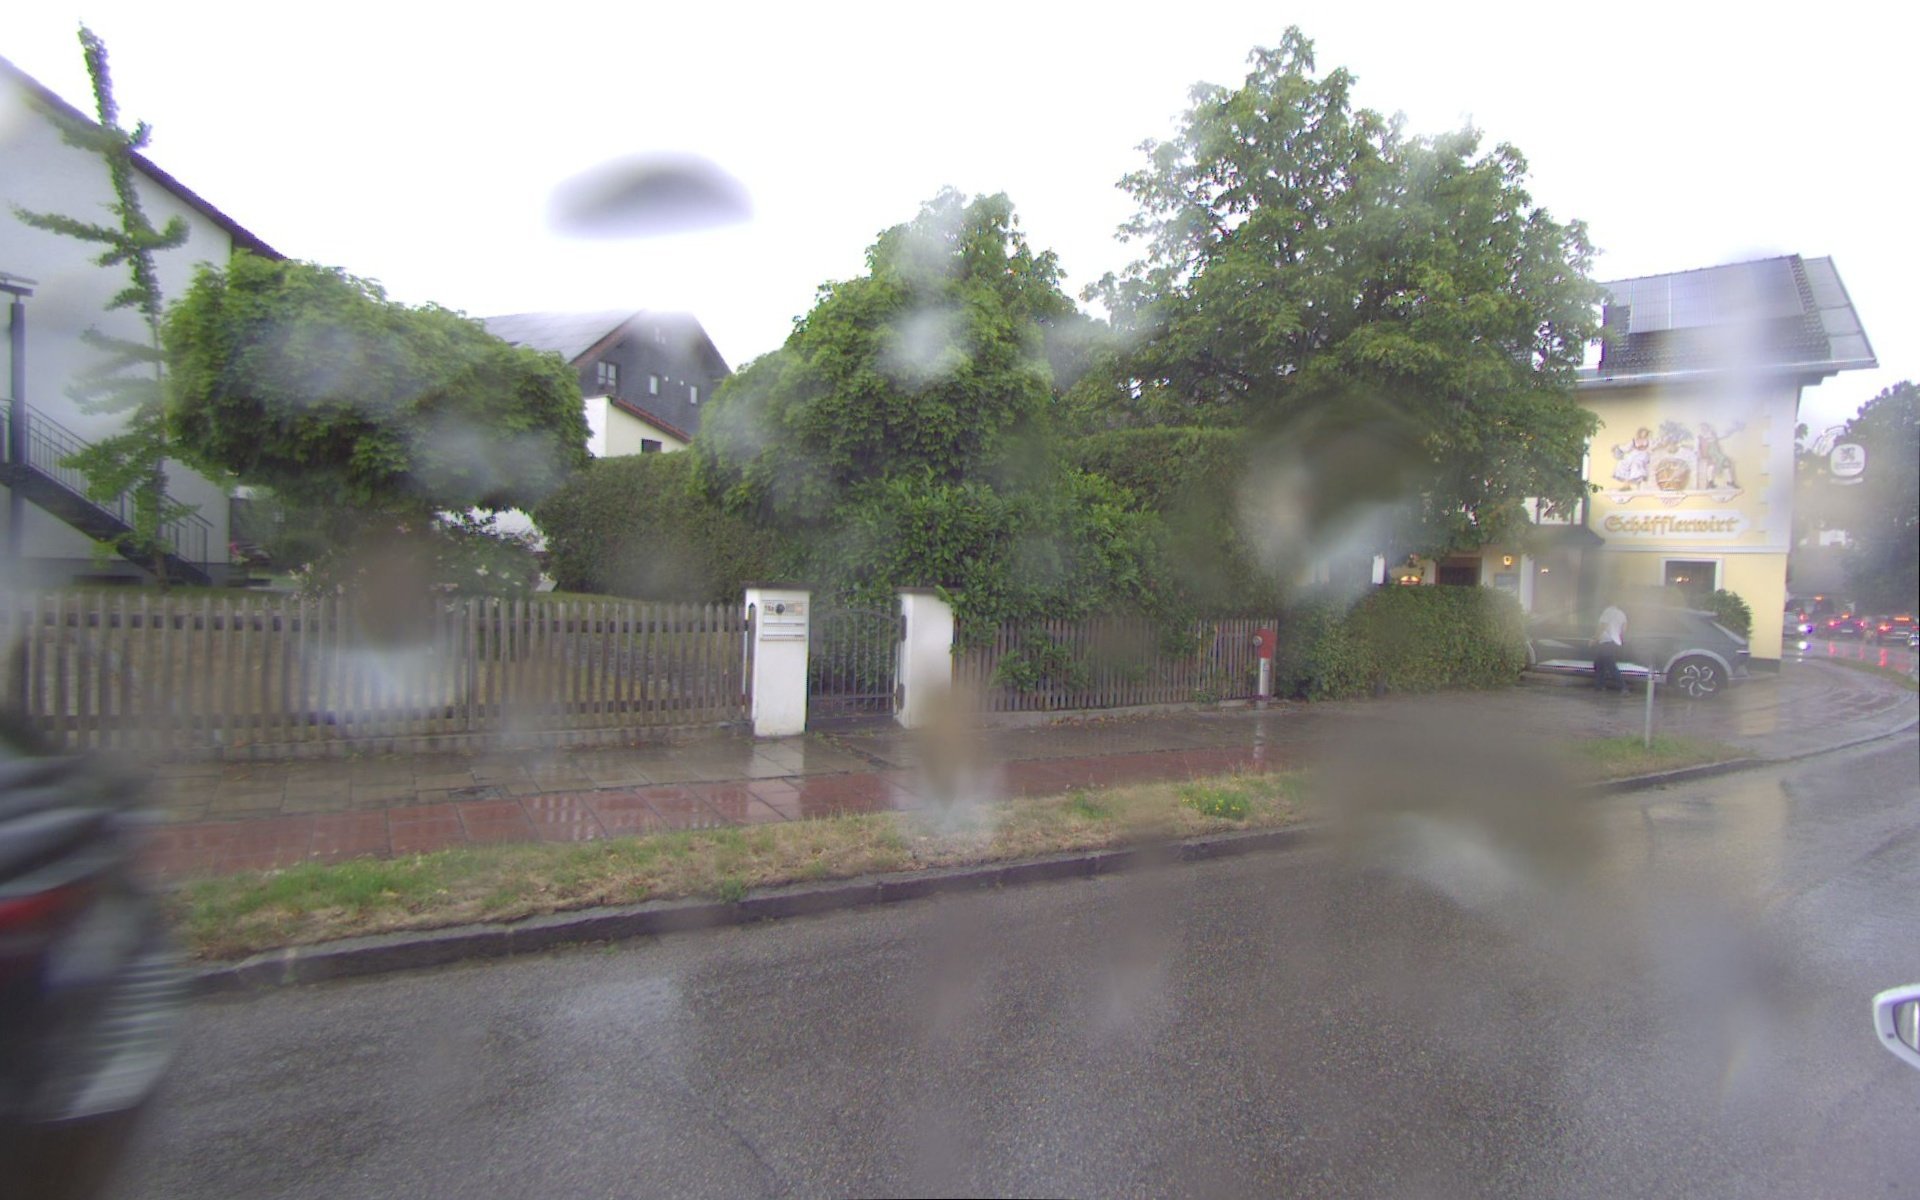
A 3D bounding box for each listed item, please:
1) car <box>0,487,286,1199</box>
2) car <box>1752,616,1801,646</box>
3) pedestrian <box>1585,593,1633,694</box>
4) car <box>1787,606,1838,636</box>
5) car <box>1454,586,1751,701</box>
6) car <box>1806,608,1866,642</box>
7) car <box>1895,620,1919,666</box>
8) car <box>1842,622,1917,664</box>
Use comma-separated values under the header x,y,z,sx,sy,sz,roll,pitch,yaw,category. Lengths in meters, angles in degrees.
x,y,z,sx,sy,sz,roll,pitch,yaw,category
-3.265,0.596,1.025,4.139,1.541,1.630,1,-1,-30,car
50.306,1.892,61.969,1.896,1.767,4.181,0,-1,33,car
11.369,0.749,17.609,0.544,1.712,0.491,5,4,29,pedestrian
62.202,1.485,73.388,2.139,1.925,4.999,3,2,33,car
11.918,0.705,18.943,4.413,1.589,1.834,6,5,32,car
55.662,1.534,63.899,2.139,1.925,4.999,3,2,33,car
44.583,1.995,45.695,2.139,1.925,4.999,3,2,33,car
49.453,2.246,54.148,2.139,1.925,4.999,3,2,33,car
